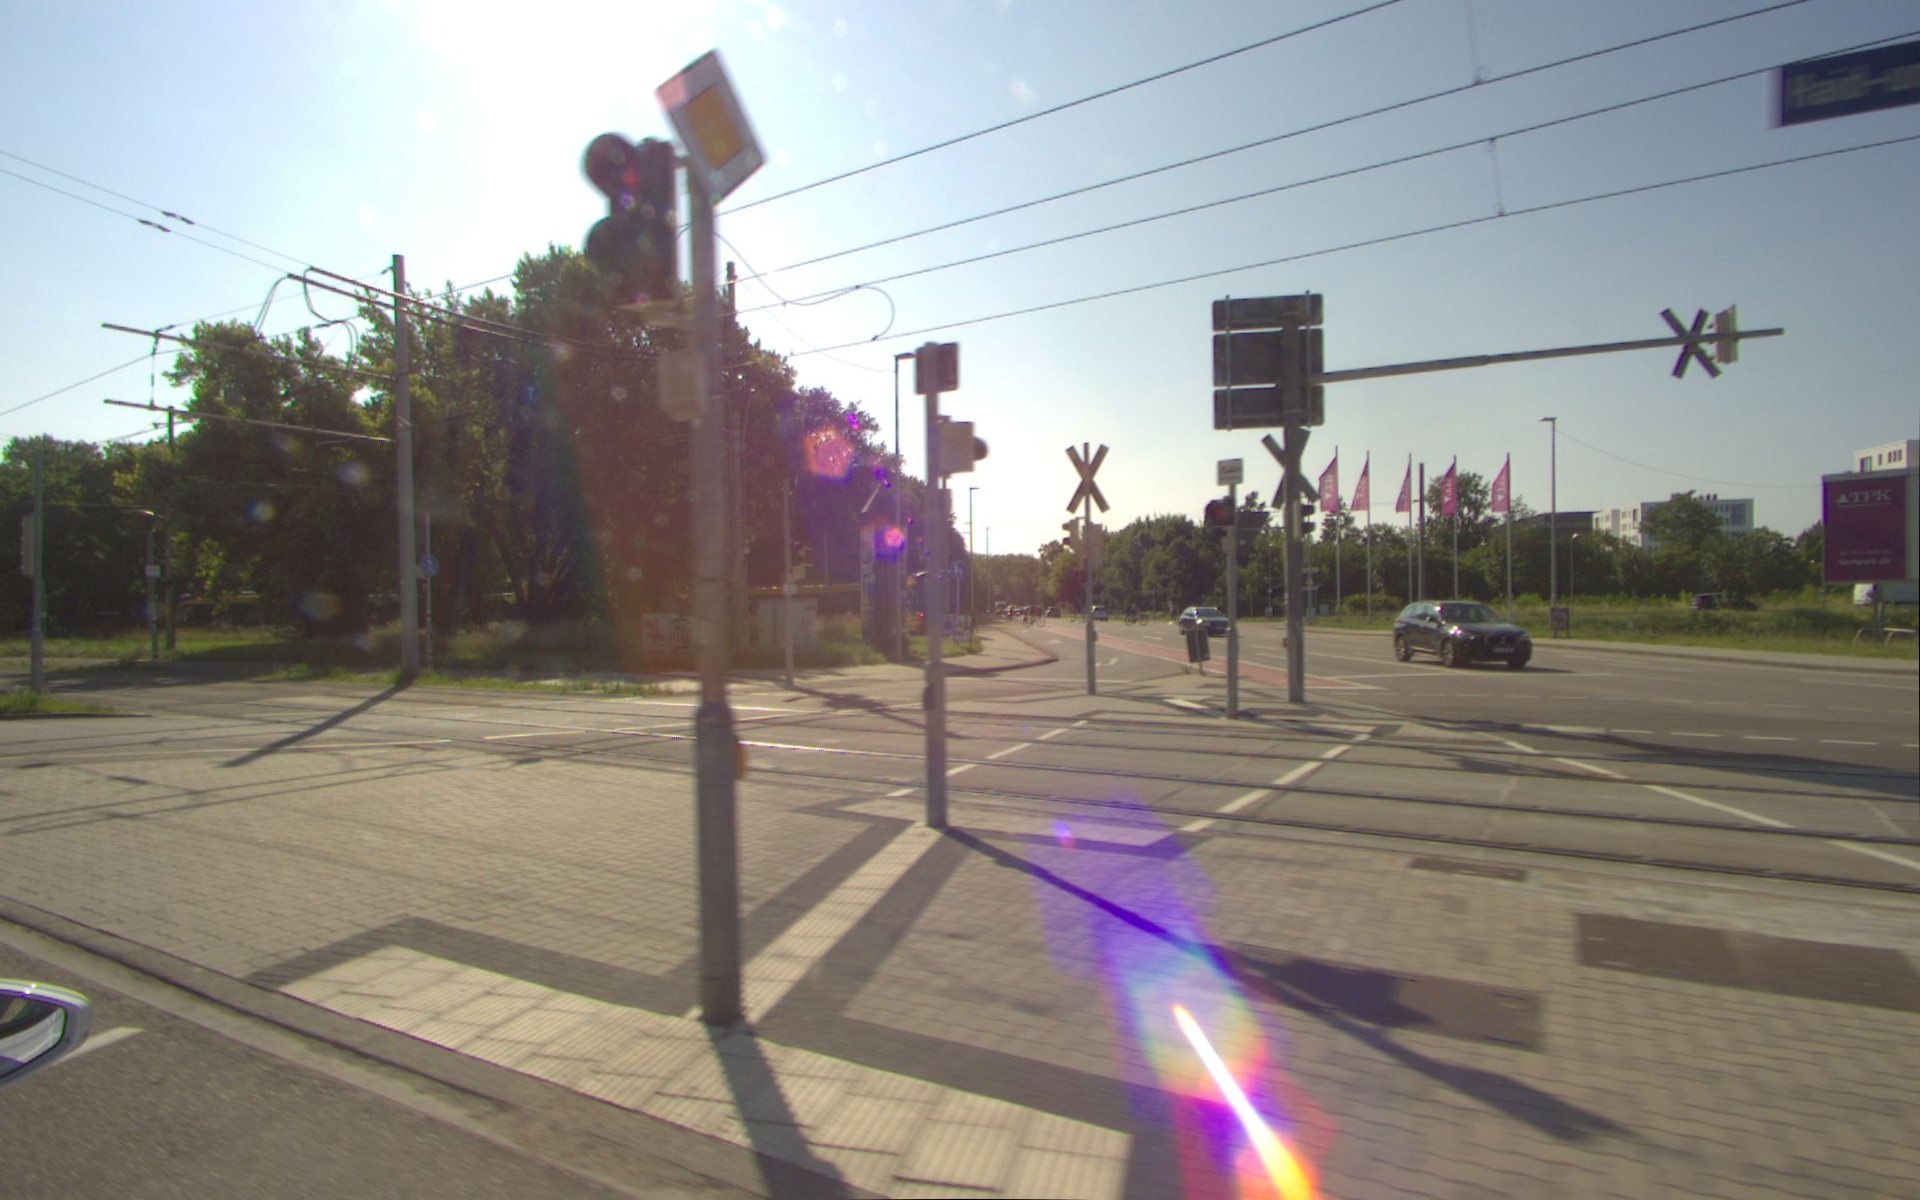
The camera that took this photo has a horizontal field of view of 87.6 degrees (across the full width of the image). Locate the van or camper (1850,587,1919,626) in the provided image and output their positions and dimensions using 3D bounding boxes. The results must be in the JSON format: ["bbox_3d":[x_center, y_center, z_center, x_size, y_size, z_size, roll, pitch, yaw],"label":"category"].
[{"bbox_3d":[70.567,0.499,74.318,6.613,2.815,2.239,-1,0,9],"label":"van or camper"}]

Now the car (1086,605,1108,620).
[{"bbox_3d":[14.423,1.299,105.450,1.820,1.583,4.204,0,0,2],"label":"car"}]

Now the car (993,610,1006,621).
[{"bbox_3d":[7.126,2.845,181.776,1.961,2.040,4.000,-1,-1,-4],"label":"car"}]

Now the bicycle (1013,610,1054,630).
[{"bbox_3d":[5.726,1.553,77.950,3.167,1.473,1.131,-1,-1,7],"label":"bicycle"}]

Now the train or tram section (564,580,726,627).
[{"bbox_3d":[-25.067,0.258,80.248,11.993,3.627,3.053,-1,0,-4],"label":"train or tram section"}]

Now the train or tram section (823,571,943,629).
[{"bbox_3d":[-5.549,0.027,68.739,3.011,3.627,12.160,-1,0,-31],"label":"train or tram section"}]

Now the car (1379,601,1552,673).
[{"bbox_3d":[12.564,0.858,25.308,2.004,1.584,4.861,0,1,2],"label":"car"}]

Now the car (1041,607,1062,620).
[{"bbox_3d":[11.965,1.727,131.392,1.961,1.626,3.999,0,0,-5],"label":"car"}]

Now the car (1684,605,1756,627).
[{"bbox_3d":[57.823,1.230,76.260,3.922,1.617,1.999,0,0,6],"label":"car"}]

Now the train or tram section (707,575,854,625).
[{"bbox_3d":[-13.932,0.087,77.102,12.049,3.627,3.039,-1,0,31],"label":"train or tram section"}]

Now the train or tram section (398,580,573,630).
[{"bbox_3d":[-36.673,0.344,77.977,12.036,3.627,3.042,0,0,-25],"label":"train or tram section"}]

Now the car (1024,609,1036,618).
[{"bbox_3d":[10.623,2.043,151.884,1.575,1.402,3.529,0,0,0],"label":"car"}]

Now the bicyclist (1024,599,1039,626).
[{"bbox_3d":[5.554,0.963,77.973,1.078,2.040,1.140,-1,0,6],"label":"bicyclist"}]

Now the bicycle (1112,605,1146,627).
[{"bbox_3d":[13.377,1.249,79.235,2.563,1.735,0.795,0,0,11],"label":"bicycle"}]

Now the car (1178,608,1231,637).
[{"bbox_3d":[12.216,1.107,50.229,1.715,1.352,4.307,0,0,2],"label":"car"}]

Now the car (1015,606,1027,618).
[{"bbox_3d":[10.931,2.157,179.250,1.961,2.040,4.001,-1,-1,0],"label":"car"}]

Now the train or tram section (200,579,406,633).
[{"bbox_3d":[-47.154,0.387,72.555,12.260,3.627,3.038,0,0,-30],"label":"train or tram section"}]

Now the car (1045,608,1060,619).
[{"bbox_3d":[12.086,1.765,130.924,1.575,1.401,3.531,1,-2,-2],"label":"car"}]

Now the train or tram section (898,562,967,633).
[{"bbox_3d":[-1.771,-0.103,57.182,2.995,3.627,11.848,-1,0,-6],"label":"train or tram section"}]
